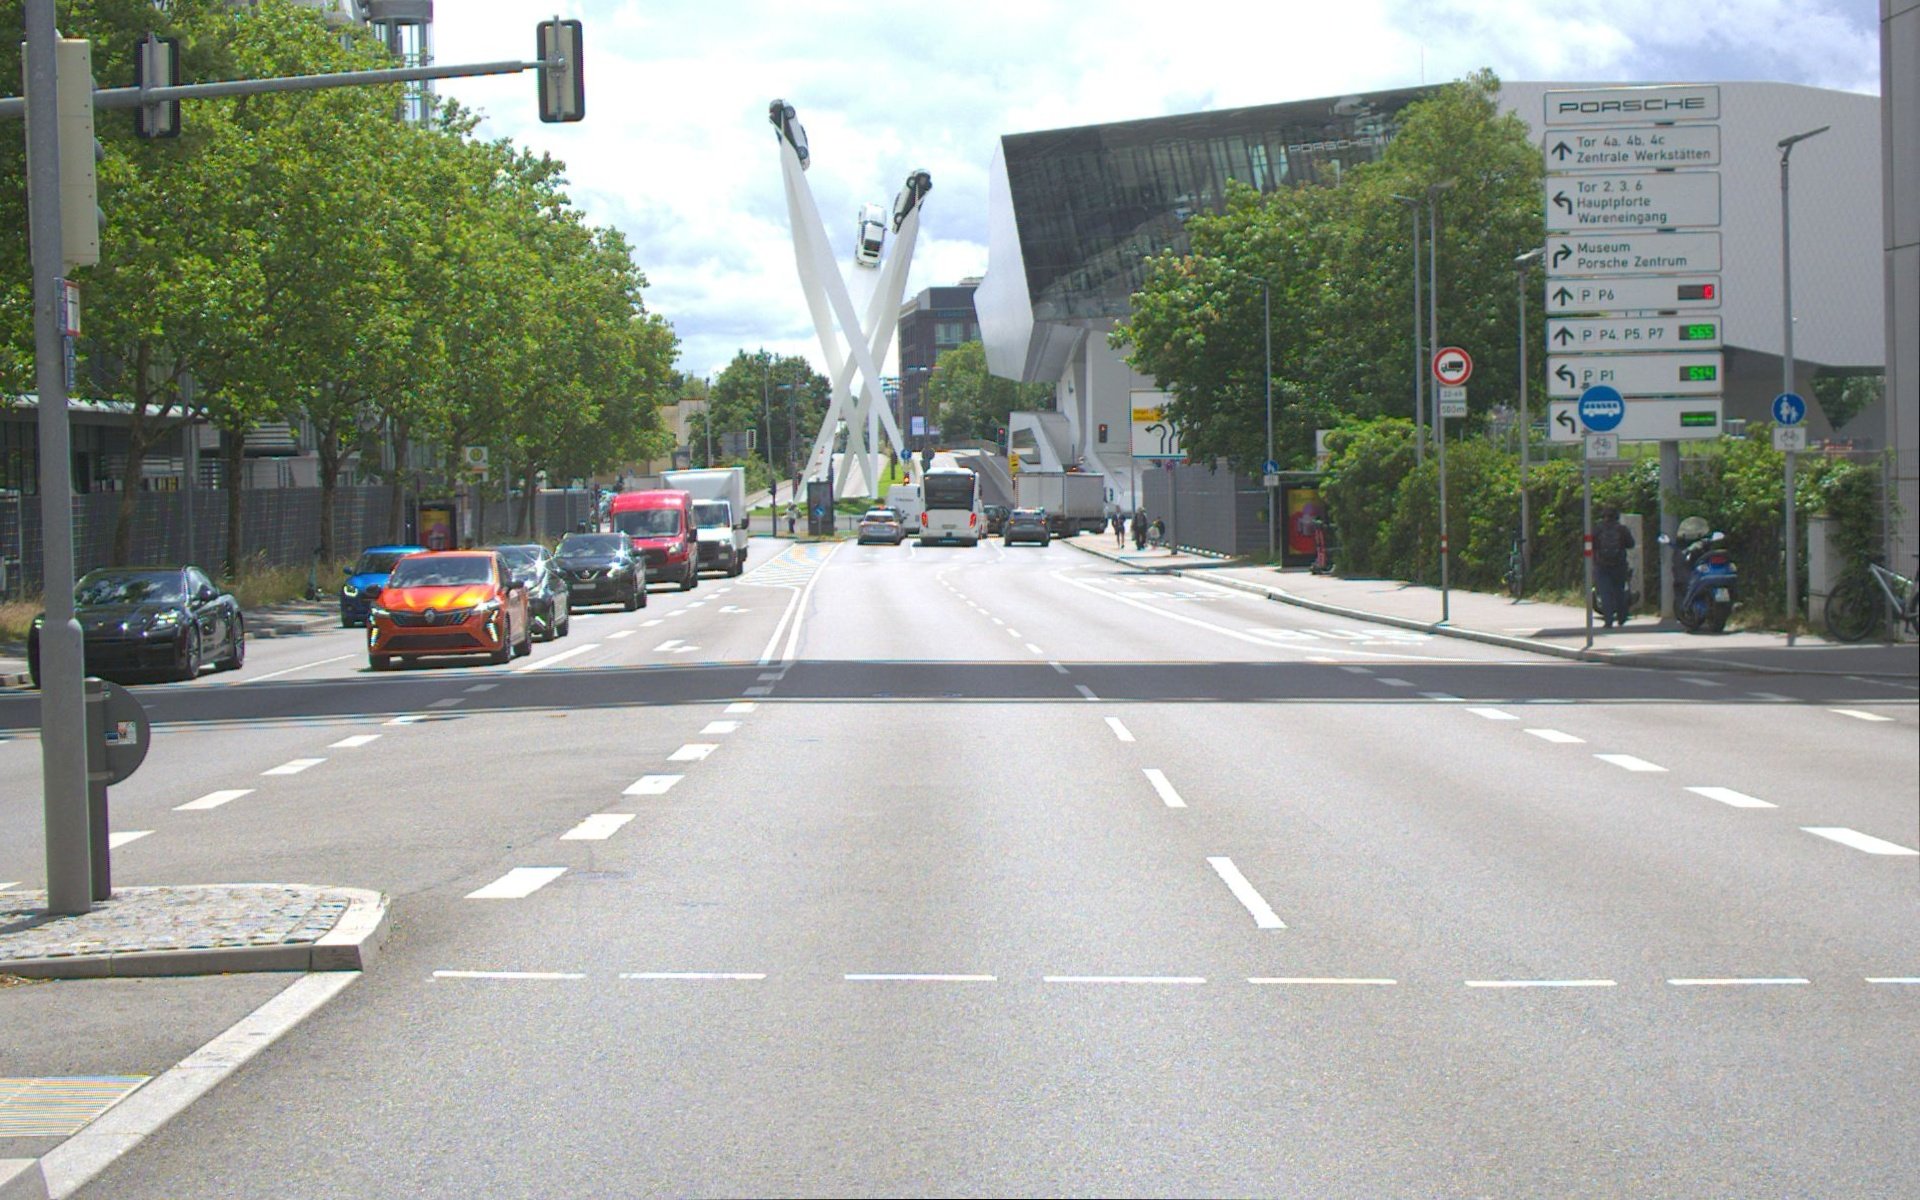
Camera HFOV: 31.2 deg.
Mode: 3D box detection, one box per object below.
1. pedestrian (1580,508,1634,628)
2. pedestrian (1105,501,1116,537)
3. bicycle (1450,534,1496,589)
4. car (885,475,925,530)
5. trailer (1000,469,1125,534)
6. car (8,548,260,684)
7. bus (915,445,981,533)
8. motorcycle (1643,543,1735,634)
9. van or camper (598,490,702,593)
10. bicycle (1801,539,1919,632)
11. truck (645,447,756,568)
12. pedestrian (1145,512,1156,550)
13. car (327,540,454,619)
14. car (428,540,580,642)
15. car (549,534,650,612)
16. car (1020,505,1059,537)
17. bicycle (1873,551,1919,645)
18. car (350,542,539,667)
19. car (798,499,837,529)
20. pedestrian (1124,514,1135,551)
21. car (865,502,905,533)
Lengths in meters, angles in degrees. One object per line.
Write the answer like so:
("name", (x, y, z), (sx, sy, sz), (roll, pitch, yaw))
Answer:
("pedestrian", (8.920, -0.440, 47.409), (0.533, 1.635, 0.658), (1, 0, -6))
("pedestrian", (5.878, -3.172, 134.346), (0.386, 1.416, 0.423), (1, 0, 0))
("bicycle", (9.730, -0.733, 65.272), (0.418, 1.019, 1.913), (1, 1, -5))
("car", (-2.706, -4.841, 171.097), (1.843, 2.614, 4.000), (1, 1, 1))
("trailer", (5.195, -4.876, 172.165), (3.322, 2.984, 10.366), (1, 1, 19))
("car", (-10.233, 0.153, 42.951), (1.917, 1.483, 4.772), (-3, 1, 0))
("bus", (-0.502, -4.802, 150.122), (2.787, 3.673, 6.943), (1, 1, 0))
("motorcycle", (9.538, -0.159, 45.032), (0.418, 1.162, 1.957), (1, 1, -11))
("van or camper", (-7.669, -1.474, 85.486), (2.047, 2.458, 5.595), (0, 1, 0))
("bicycle", (11.163, -0.169, 40.877), (2.222, 1.083, 0.476), (1, 1, 35))
("truck", (-7.434, -2.610, 99.174), (2.591, 3.312, 7.079), (1, 1, 0))
("pedestrian", (7.250, -2.615, 130.663), (0.386, 1.416, 0.423), (1, 0, 0))
("car", (-10.824, -0.414, 65.576), (1.727, 1.378, 3.701), (-3, 1, 0))
("car", (-6.936, -0.161, 52.622), (1.769, 1.415, 3.701), (-3, 1, 0))
("car", (-7.218, -0.567, 69.156), (1.557, 1.443, 3.773), (-3, 1, 0))
("car", (3.372, -3.347, 146.178), (1.557, 1.269, 3.701), (-3, 1, 1))
("bicycle", (11.682, -0.012, 39.568), (2.222, 1.083, 0.476), (1, 1, 35))
("car", (-6.511, 0.026, 43.759), (1.769, 1.415, 3.701), (-3, 1, 0))
("car", (-6.453, -3.905, 155.785), (1.557, 1.269, 3.701), (-3, 1, 0))
("pedestrian", (6.455, -2.557, 130.641), (0.386, 1.416, 0.423), (1, 0, 0))
("car", (-3.231, -3.562, 148.649), (1.557, 1.269, 3.701), (-3, 1, 1))
